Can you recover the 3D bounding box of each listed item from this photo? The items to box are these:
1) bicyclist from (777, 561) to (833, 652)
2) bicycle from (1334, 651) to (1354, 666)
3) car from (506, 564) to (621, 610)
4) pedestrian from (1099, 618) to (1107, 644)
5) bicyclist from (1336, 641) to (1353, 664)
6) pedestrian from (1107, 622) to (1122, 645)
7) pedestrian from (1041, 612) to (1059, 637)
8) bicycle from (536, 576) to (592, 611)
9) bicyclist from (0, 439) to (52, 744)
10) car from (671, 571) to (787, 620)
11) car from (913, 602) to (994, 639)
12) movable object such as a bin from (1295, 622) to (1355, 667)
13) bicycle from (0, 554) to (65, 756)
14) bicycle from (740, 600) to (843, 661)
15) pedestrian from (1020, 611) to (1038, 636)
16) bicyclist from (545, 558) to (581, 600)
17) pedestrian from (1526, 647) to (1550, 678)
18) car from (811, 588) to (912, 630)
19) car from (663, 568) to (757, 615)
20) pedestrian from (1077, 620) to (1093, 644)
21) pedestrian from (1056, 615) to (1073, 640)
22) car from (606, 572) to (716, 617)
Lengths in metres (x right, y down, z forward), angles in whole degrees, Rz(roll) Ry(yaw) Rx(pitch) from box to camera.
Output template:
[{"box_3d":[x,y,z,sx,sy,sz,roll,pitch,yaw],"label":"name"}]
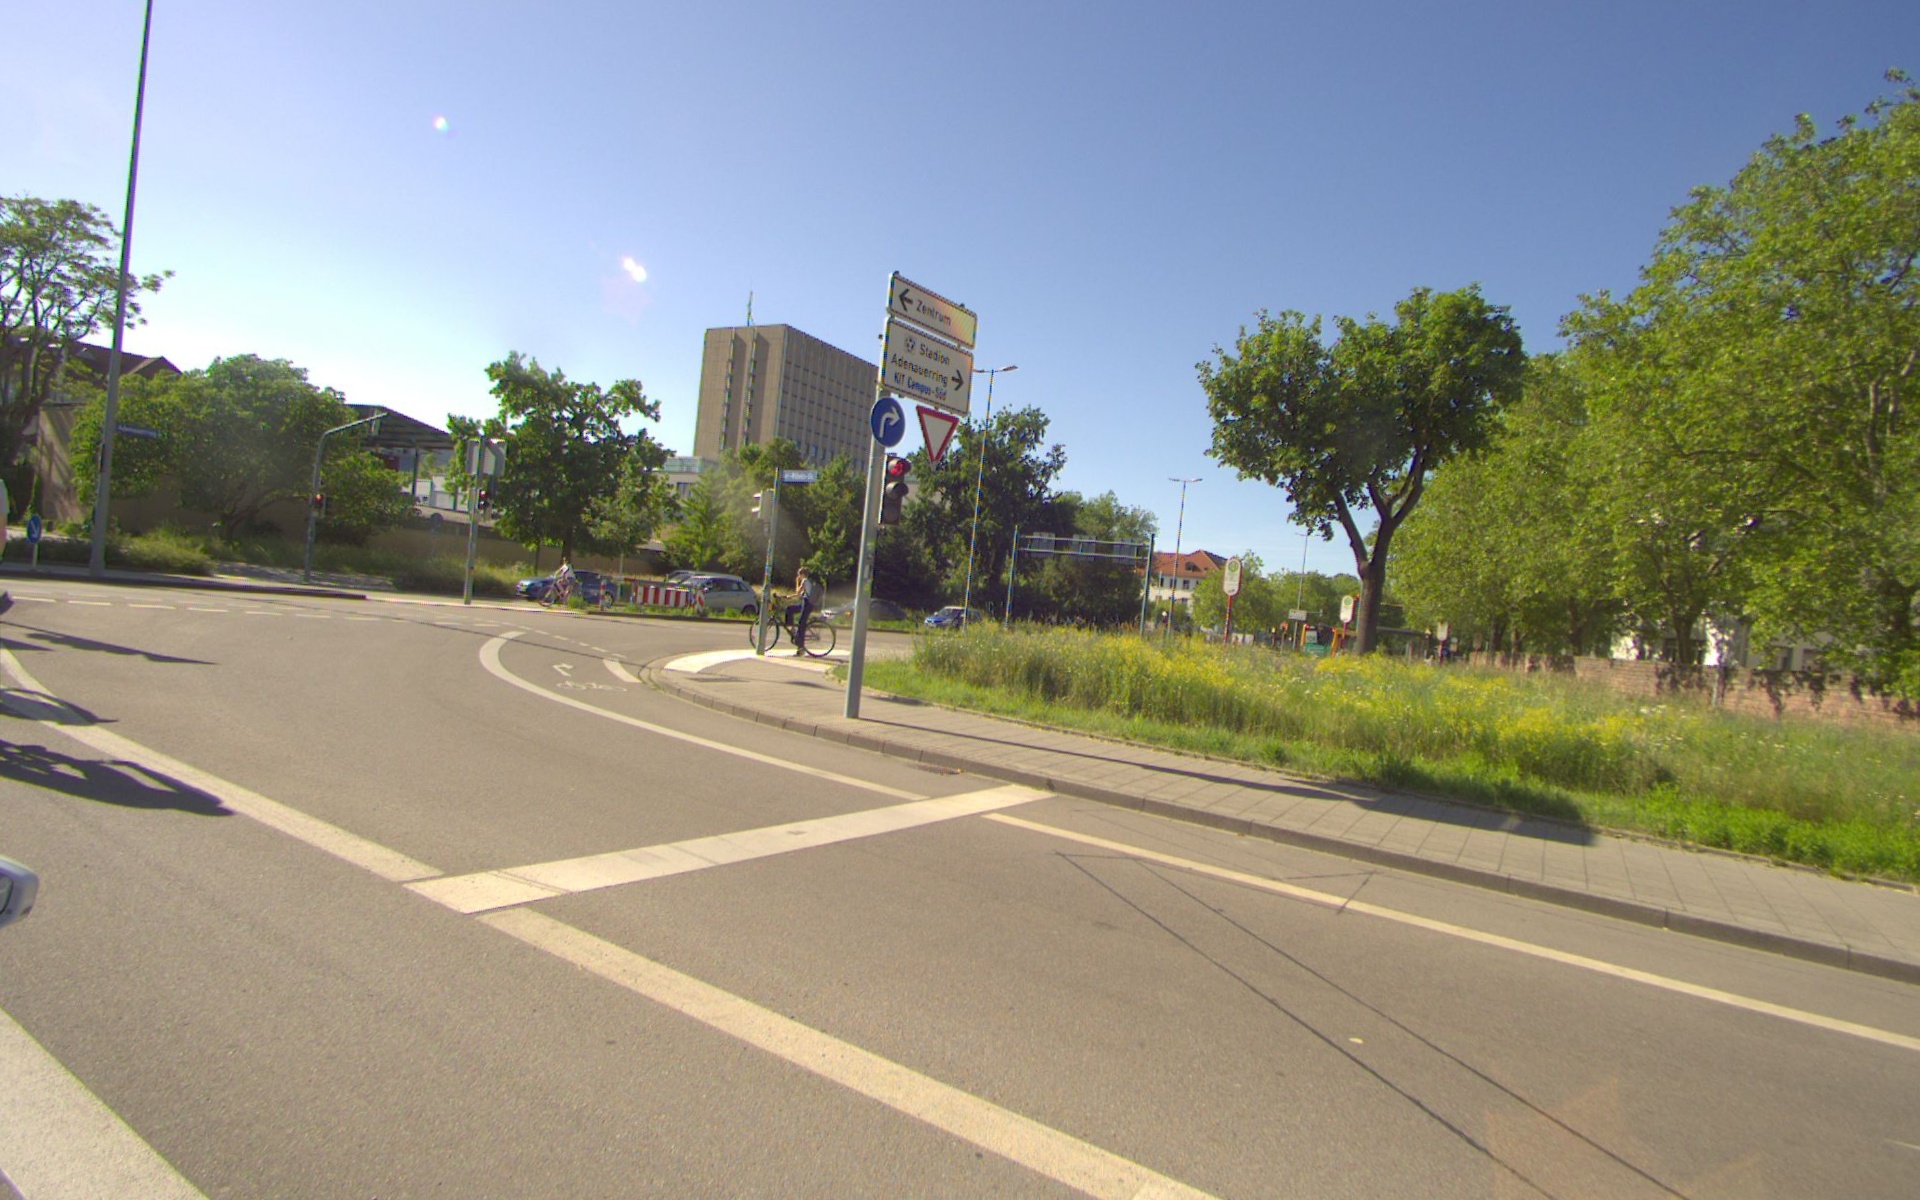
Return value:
[{"box_3d":[-3.030,0.124,19.695,0.898,1.667,0.630,6,1,-9],"label":"bicyclist"},{"box_3d":[26.789,4.070,70.169,0.640,0.986,1.895,7,1,39],"label":"bicycle"},{"box_3d":[-16.205,-0.526,41.307,1.767,1.415,3.986,7,0,37],"label":"car"},{"box_3d":[13.878,3.034,97.634,0.401,2.451,0.467,6,-1,34],"label":"pedestrian"},{"box_3d":[26.804,3.658,70.121,0.632,1.533,1.049,7,2,39],"label":"bicyclist"},{"box_3d":[14.936,3.221,97.046,0.752,2.039,1.267,7,1,36],"label":"pedestrian"},{"box_3d":[7.674,2.077,85.492,0.752,2.039,1.267,7,1,36],"label":"pedestrian"},{"box_3d":[-13.914,-0.226,35.371,0.602,1.046,1.681,7,0,37],"label":"bicycle"},{"box_3d":[-6.275,-0.109,6.119,1.123,1.813,0.684,7,0,32],"label":"bicyclist"},{"box_3d":[-8.734,-0.131,38.279,1.767,1.415,3.986,7,0,37],"label":"car"},{"box_3d":[-0.290,1.050,50.447,1.916,1.415,3.986,6,0,37],"label":"car"},{"box_3d":[27.955,3.453,76.792,2.954,2.898,9.178,6,0,27],"label":"movable object such as a bin"},{"box_3d":[-6.276,0.238,6.091,1.890,1.102,0.690,6,-1,32],"label":"bicycle"},{"box_3d":[-3.284,0.591,19.668,1.856,0.970,0.635,7,1,-10],"label":"bicycle"},{"box_3d":[5.888,1.988,85.512,0.752,2.039,1.267,7,1,36],"label":"pedestrian"},{"box_3d":[-13.929,-0.723,35.272,0.602,1.360,0.874,7,1,37],"label":"bicyclist"},{"box_3d":[28.561,3.083,49.712,0.712,1.460,0.523,7,-1,2],"label":"pedestrian"},{"box_3d":[-4.304,0.435,44.620,1.767,1.415,4.557,7,0,37],"label":"car"},{"box_3d":[-11.838,-0.367,47.785,1.767,1.771,3.986,7,0,37],"label":"car"},{"box_3d":[11.571,2.966,93.150,0.752,2.039,1.267,7,1,36],"label":"pedestrian"},{"box_3d":[9.375,2.475,90.225,0.752,2.039,1.267,7,1,36],"label":"pedestrian"},{"box_3d":[-12.294,-0.201,41.560,1.767,1.415,3.986,7,0,37],"label":"car"}]
